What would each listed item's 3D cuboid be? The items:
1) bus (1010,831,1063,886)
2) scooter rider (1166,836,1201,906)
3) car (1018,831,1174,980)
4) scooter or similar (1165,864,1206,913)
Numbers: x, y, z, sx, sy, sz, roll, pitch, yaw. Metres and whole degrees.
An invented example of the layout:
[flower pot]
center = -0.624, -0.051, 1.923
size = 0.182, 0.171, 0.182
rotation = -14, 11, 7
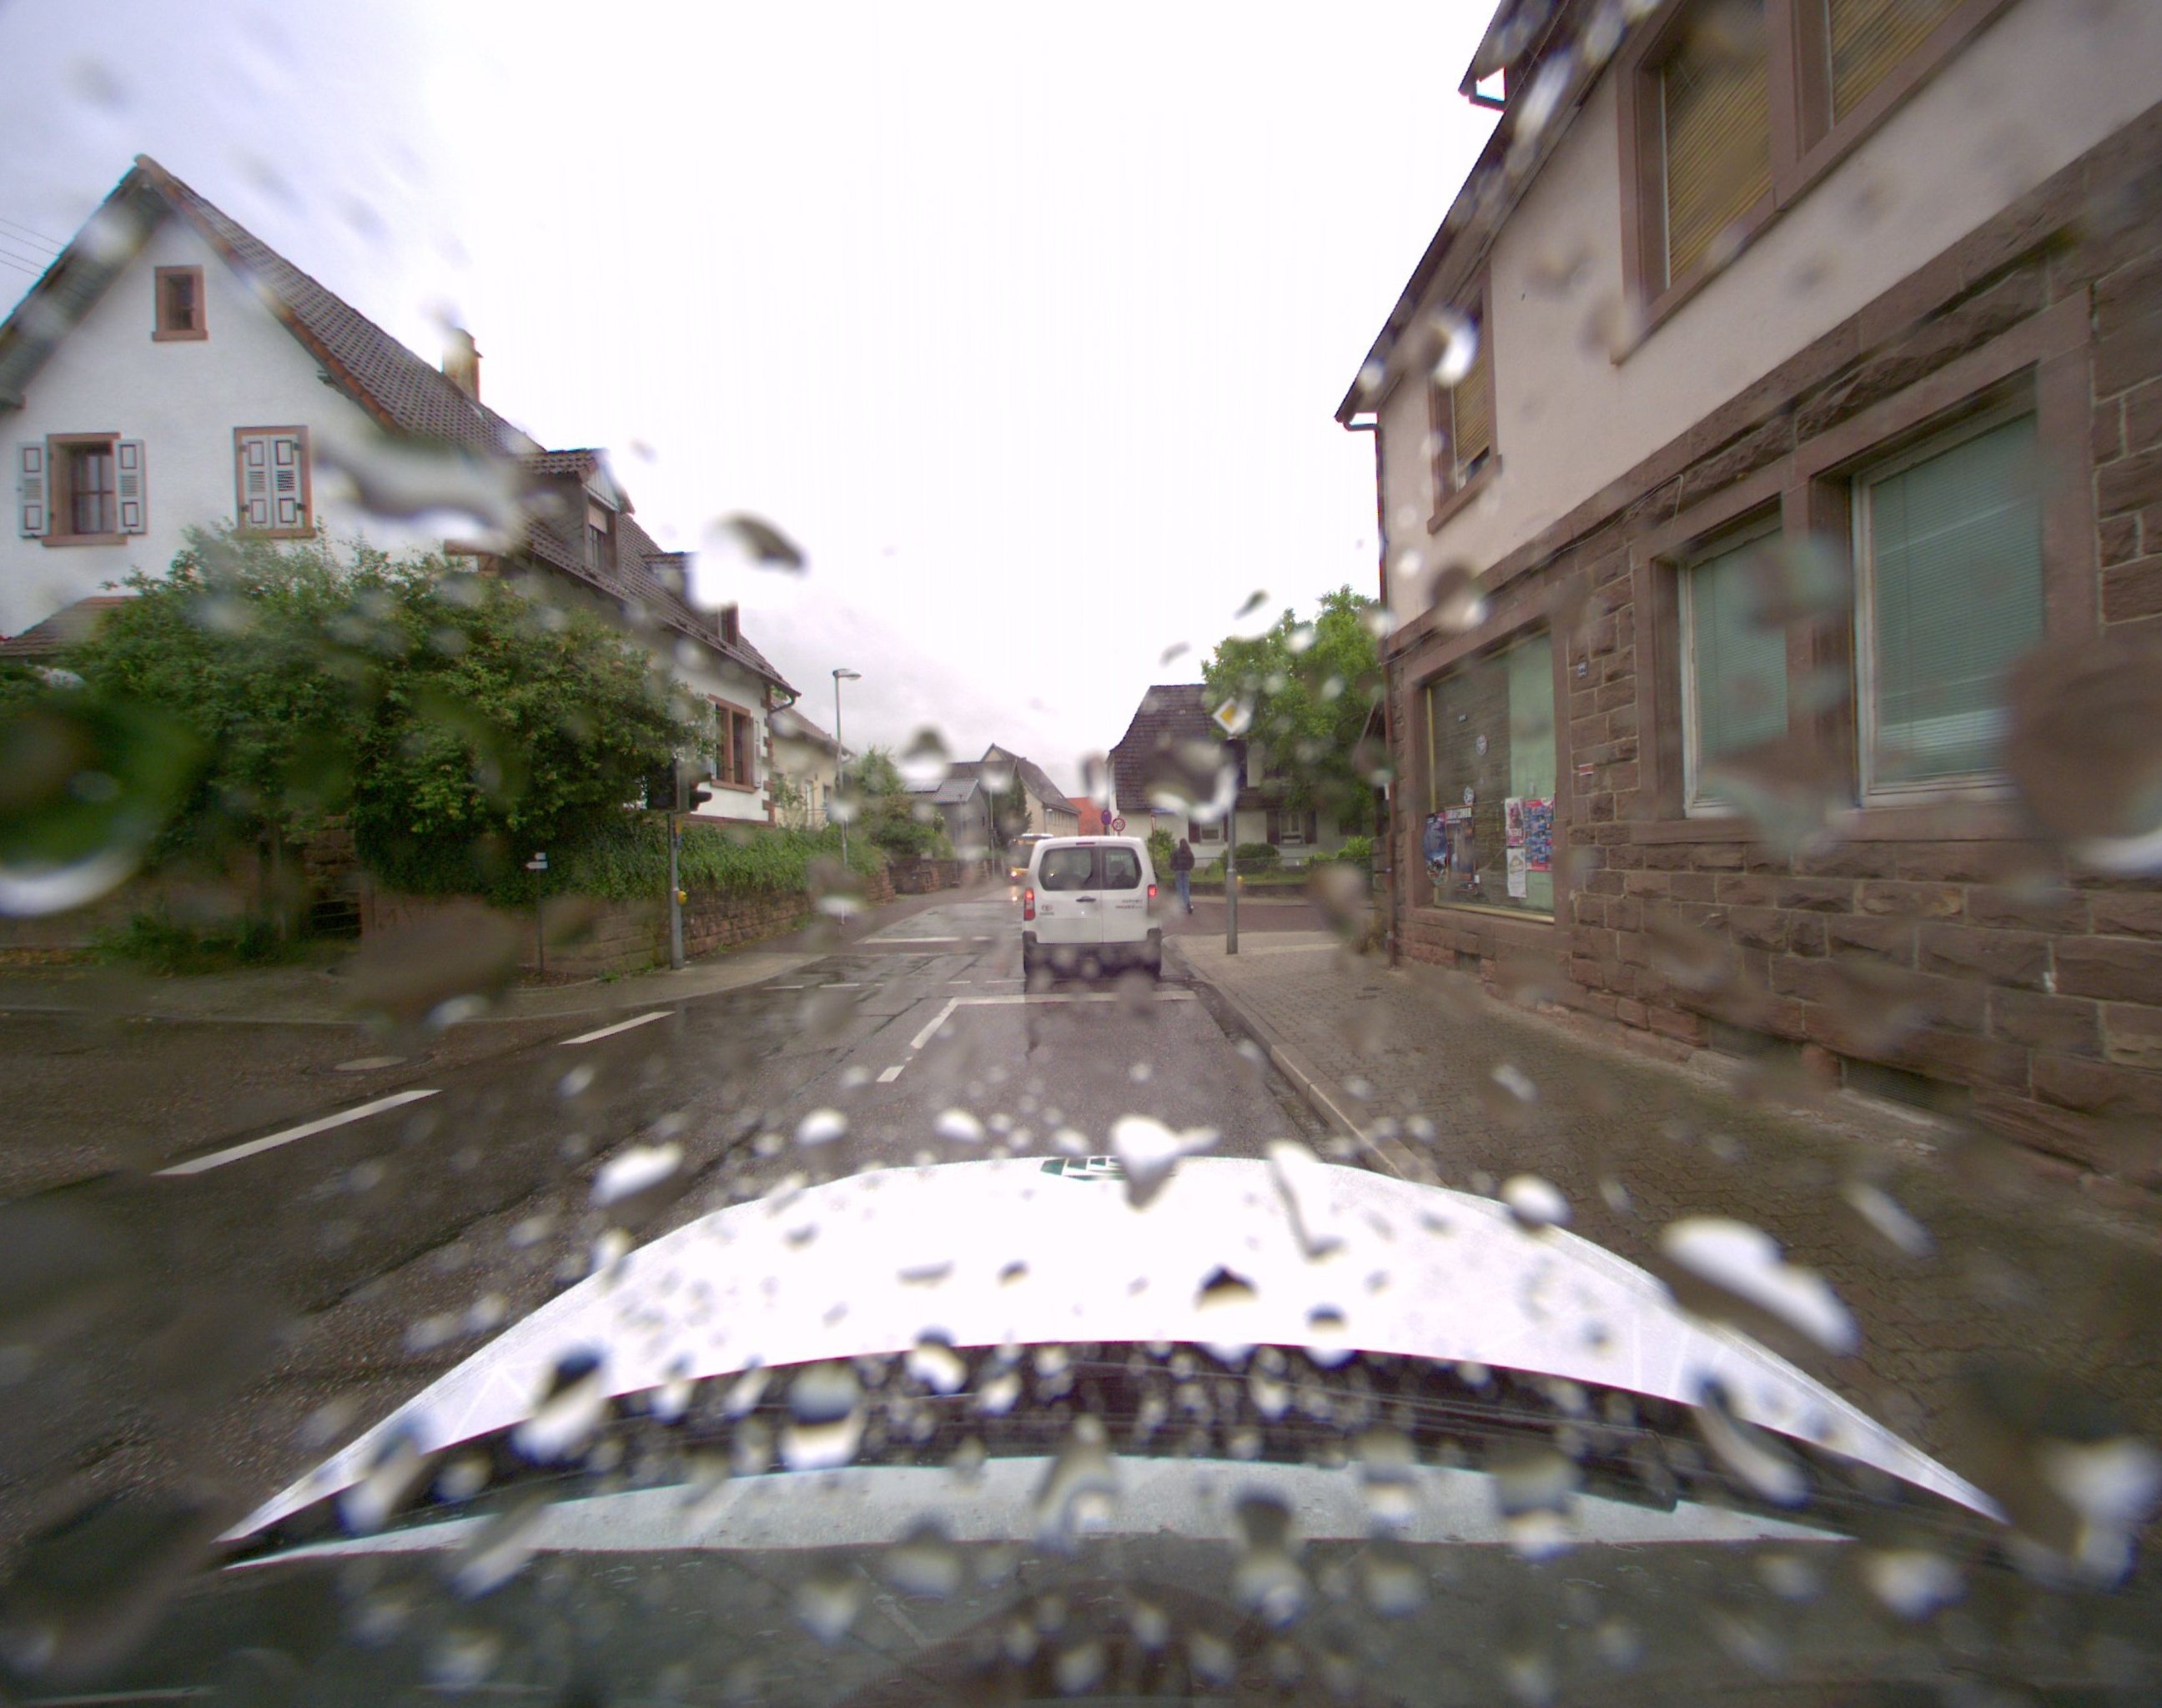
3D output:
[bus]
center = -2.611, 0.092, 51.490
size = 2.641, 2.999, 12.192
rotation = -1, 1, 0
[scooter rider]
center = 2.613, 0.422, 20.860
size = 0.731, 1.733, 0.516
rotation = -2, 2, -11
[car]
center = 0.190, 0.622, 11.835
size = 1.888, 1.794, 3.813
rotation = -1, 0, 0
[scooter or similar]
center = 2.643, 0.854, 20.732
size = 0.621, 1.127, 1.396
rotation = -2, 2, -12
